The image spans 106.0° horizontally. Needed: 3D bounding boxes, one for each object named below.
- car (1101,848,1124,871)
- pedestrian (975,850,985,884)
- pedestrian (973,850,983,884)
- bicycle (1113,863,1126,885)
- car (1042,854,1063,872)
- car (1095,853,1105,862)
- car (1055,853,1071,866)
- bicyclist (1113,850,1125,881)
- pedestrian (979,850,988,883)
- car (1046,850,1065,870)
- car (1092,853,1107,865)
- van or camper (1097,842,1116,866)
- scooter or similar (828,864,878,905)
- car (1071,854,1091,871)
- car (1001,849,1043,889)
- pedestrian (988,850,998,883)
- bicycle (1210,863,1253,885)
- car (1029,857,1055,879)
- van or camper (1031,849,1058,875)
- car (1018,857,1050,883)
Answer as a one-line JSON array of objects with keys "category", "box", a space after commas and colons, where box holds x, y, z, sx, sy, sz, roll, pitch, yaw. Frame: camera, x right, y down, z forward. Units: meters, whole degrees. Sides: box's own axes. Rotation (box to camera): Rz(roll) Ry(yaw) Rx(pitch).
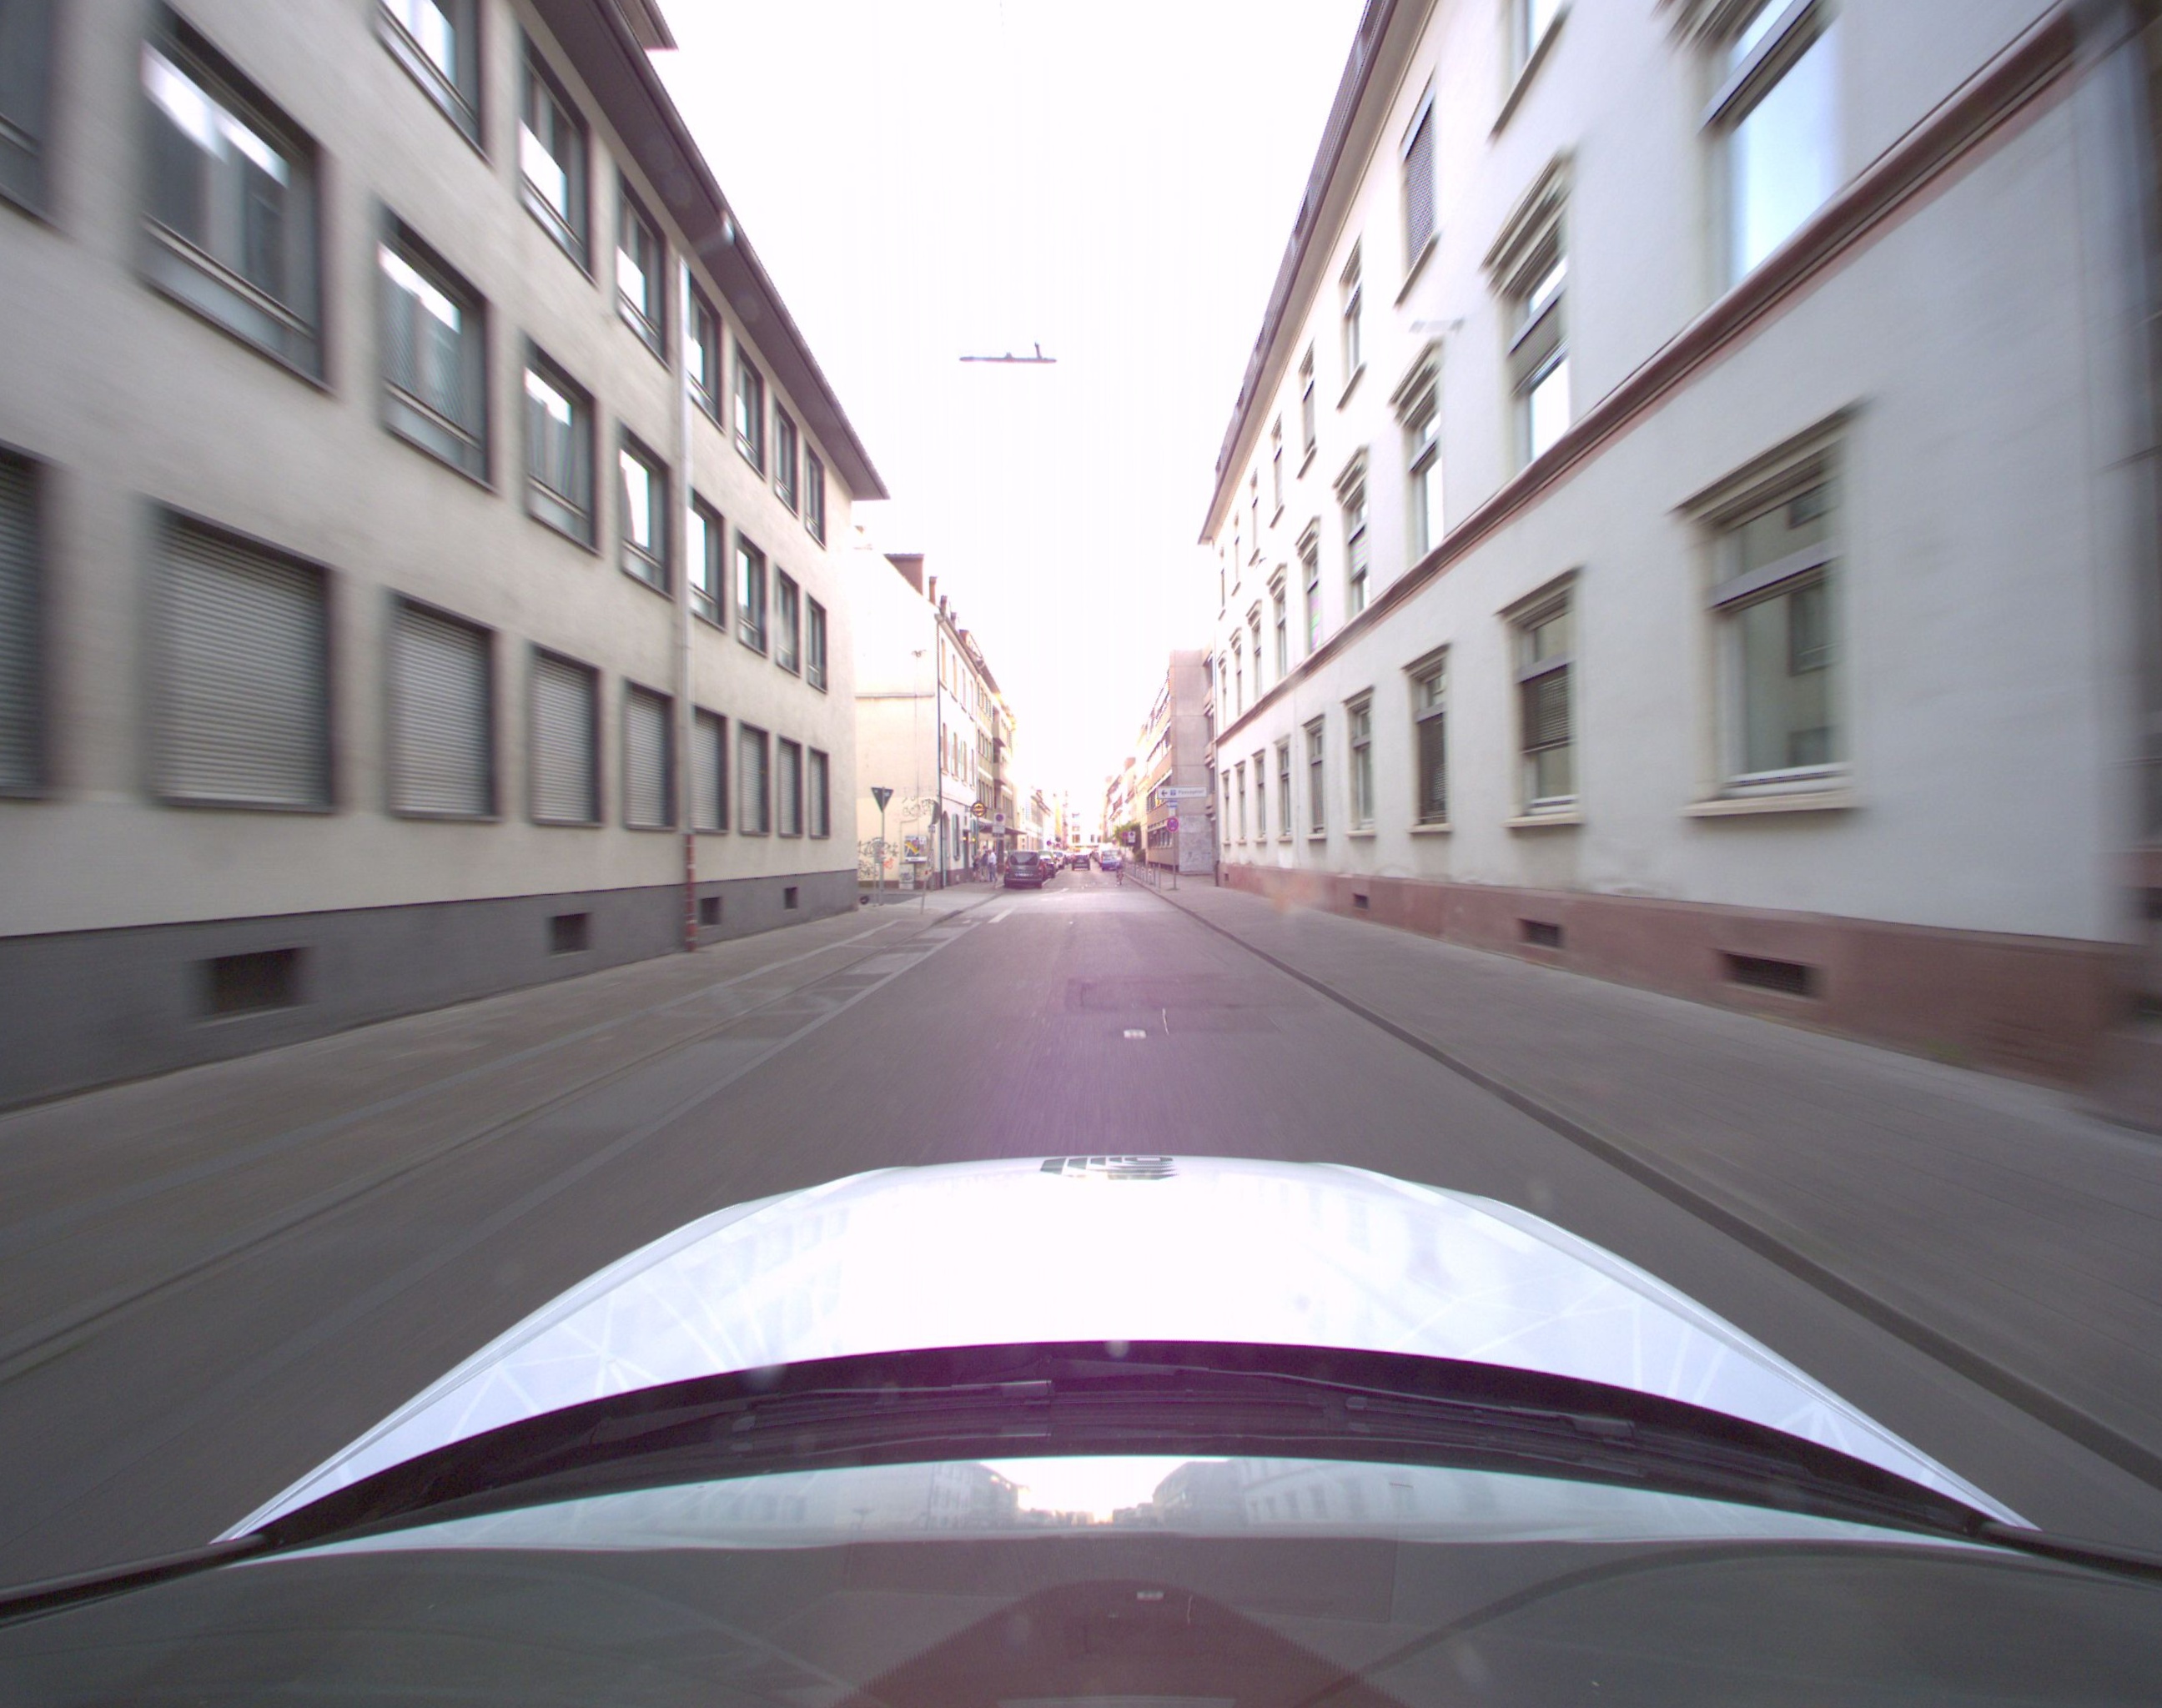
[{"category": "car", "box": [2.793, 0.464, 73.553, 1.929, 1.898, 5.277, -1, 0, 1]}, {"category": "pedestrian", "box": [-5.320, 0.671, 42.893, 0.404, 1.750, 0.470, -1, -1, 2]}, {"category": "pedestrian", "box": [-5.346, 0.669, 42.331, 0.404, 1.750, 0.470, -1, -1, 2]}, {"category": "bicycle", "box": [1.984, 1.041, 42.345, 0.611, 1.082, 1.810, -1, 0, 1]}, {"category": "car", "box": [-2.482, 0.764, 71.765, 1.656, 1.449, 3.520, 2, 0, 0]}, {"category": "car", "box": [3.305, 0.560, 143.406, 1.648, 1.561, 3.606, 0, 0, 1]}, {"category": "car", "box": [-2.409, 0.710, 108.934, 1.796, 1.676, 4.491, -1, 0, 2]}, {"category": "bicyclist", "box": [1.982, 0.605, 42.287, 0.618, 1.574, 0.684, -1, 0, 1]}, {"category": "pedestrian", "box": [-5.188, 0.658, 43.485, 0.404, 1.750, 0.470, -1, -1, 2]}, {"category": "car", "box": [-2.633, 0.588, 84.848, 1.857, 2.013, 5.104, -1, 0, -1]}, {"category": "car", "box": [2.594, 0.669, 113.101, 1.813, 1.530, 5.073, -5, 0, 2]}, {"category": "van or camper", "box": [2.871, -0.028, 93.482, 2.043, 2.637, 7.064, -1, 0, 1]}, {"category": "scooter or similar", "box": [-6.911, 0.929, 24.664, 1.367, 1.201, 0.528, 2, -2, -24]}, {"category": "car", "box": [-0.032, 0.780, 76.194, 1.813, 1.618, 3.999, 0, 0, 0]}, {"category": "car", "box": [-2.806, 0.680, 39.637, 1.872, 1.811, 4.446, 0, 0, -3]}, {"category": "pedestrian", "box": [-4.618, 0.663, 42.868, 0.447, 1.750, 0.470, -1, -1, 1]}, {"category": "bicycle", "box": [6.530, 0.851, 35.376, 1.737, 0.923, 0.537, -1, 0, -7]}, {"category": "car", "box": [-2.553, 0.908, 54.453, 1.619, 1.416, 3.978, 0, 0, -1]}, {"category": "van or camper", "box": [-2.775, 0.596, 62.573, 1.766, 1.848, 4.179, -1, 0, 1]}, {"category": "car", "box": [-2.819, 0.932, 49.550, 1.618, 1.485, 3.878, -1, 0, 0]}]
